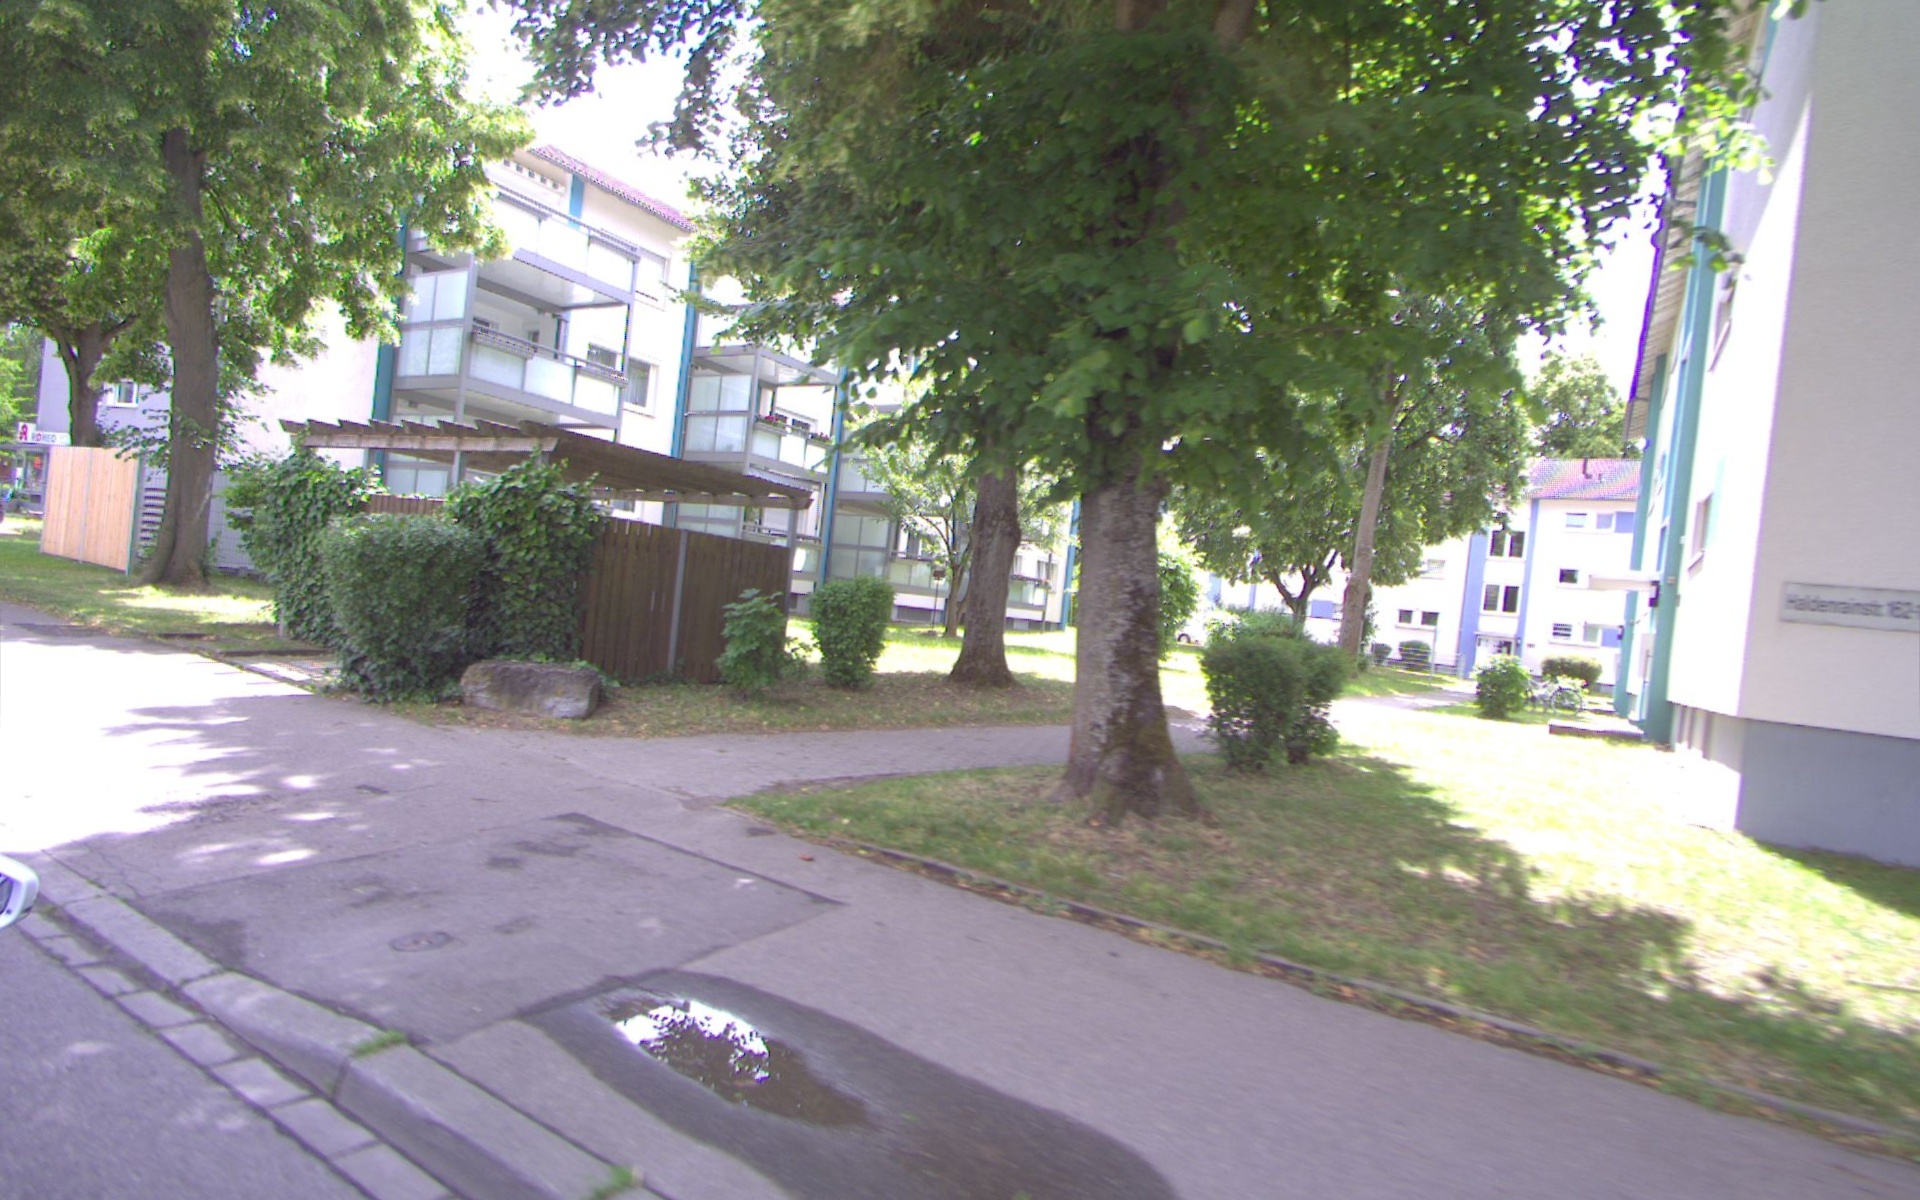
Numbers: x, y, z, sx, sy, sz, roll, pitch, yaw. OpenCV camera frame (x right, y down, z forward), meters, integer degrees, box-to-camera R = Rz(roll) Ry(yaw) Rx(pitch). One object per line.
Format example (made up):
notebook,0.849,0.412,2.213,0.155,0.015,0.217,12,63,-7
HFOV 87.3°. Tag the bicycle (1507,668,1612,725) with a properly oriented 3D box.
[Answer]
bicycle,13.293,2.120,22.357,1.884,0.964,0.528,7,2,32
